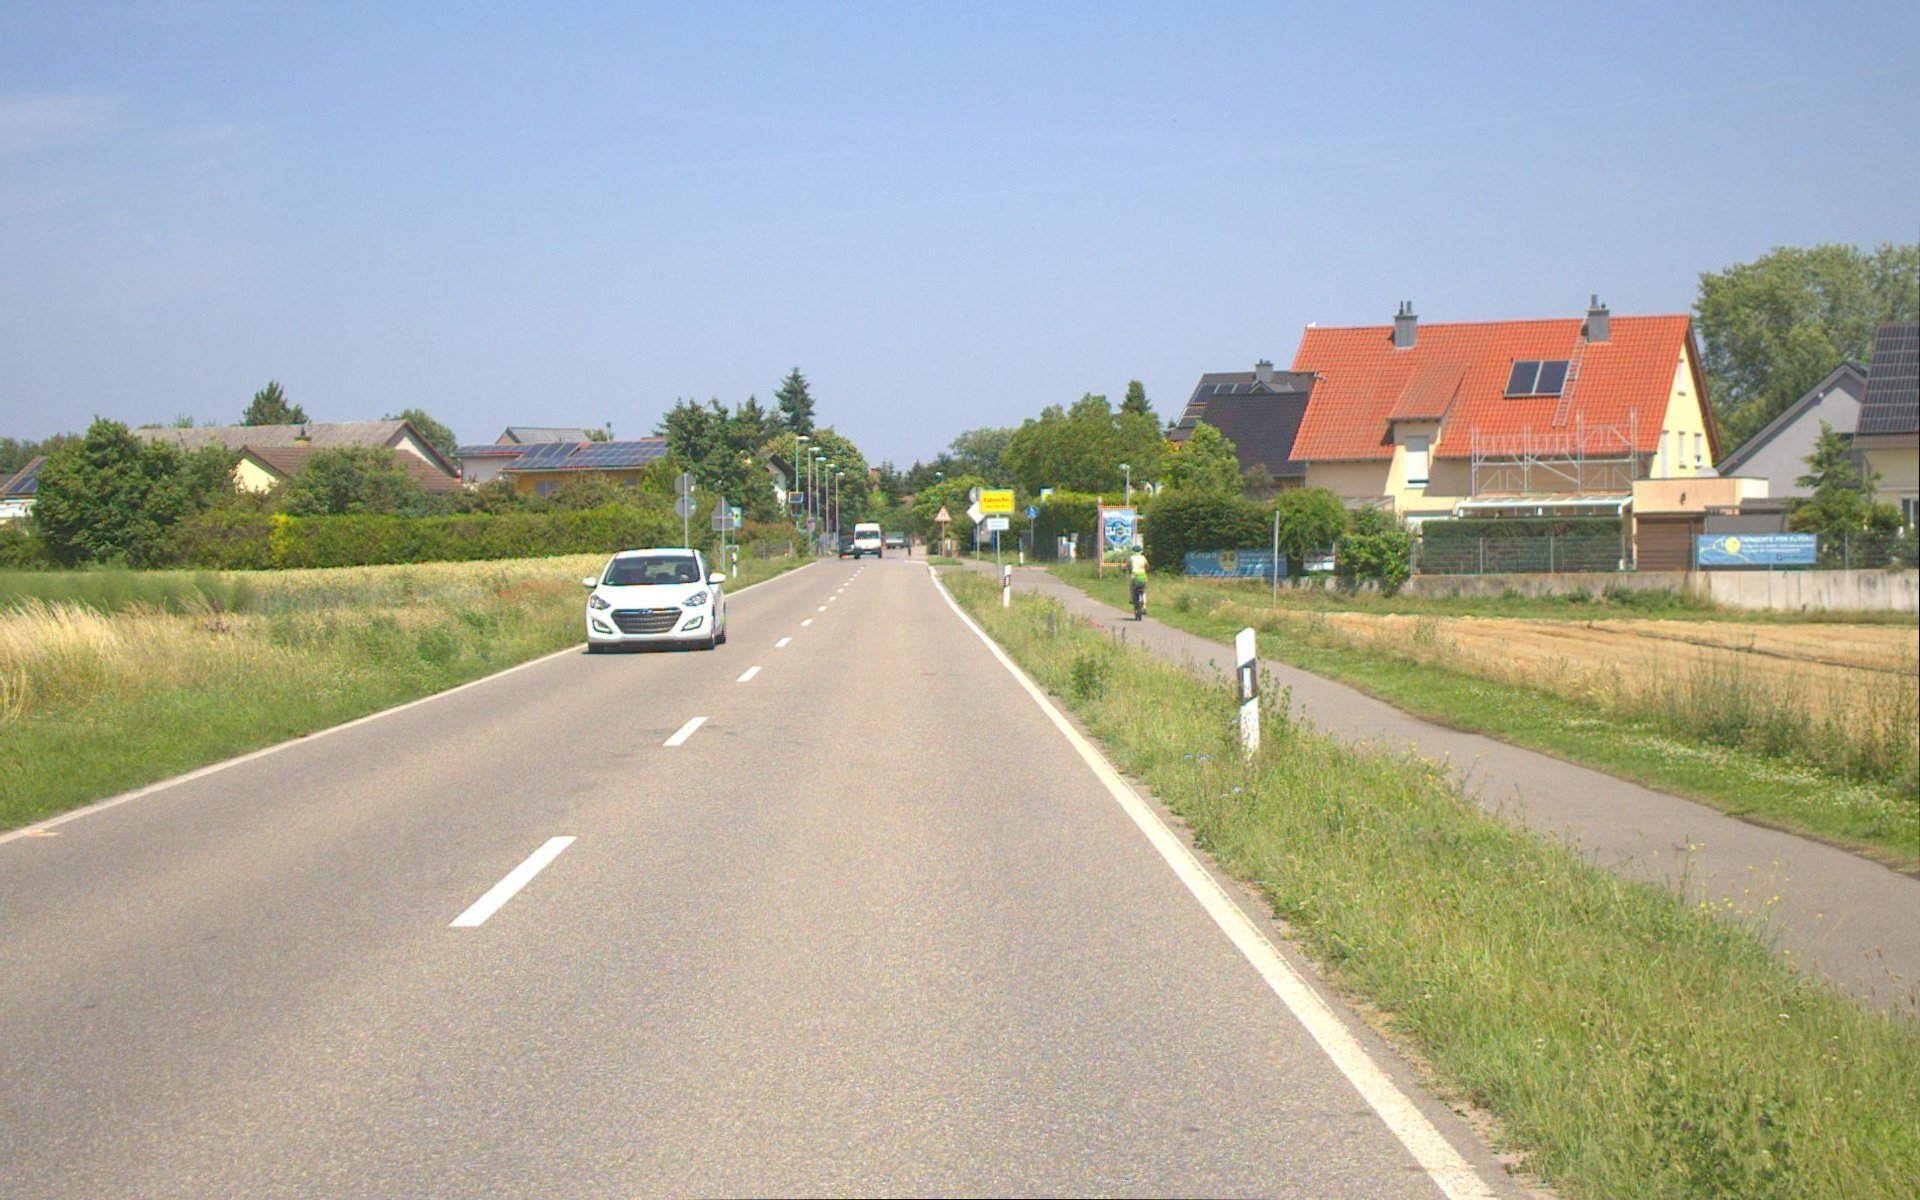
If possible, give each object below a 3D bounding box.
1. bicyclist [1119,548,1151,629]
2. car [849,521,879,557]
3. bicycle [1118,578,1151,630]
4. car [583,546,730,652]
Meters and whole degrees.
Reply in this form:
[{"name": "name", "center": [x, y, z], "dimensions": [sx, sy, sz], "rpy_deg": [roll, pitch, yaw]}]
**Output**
[{"name": "bicyclist", "center": [4.180, -0.284, 82.155], "dimensions": [0.645, 1.883, 0.861], "rpy_deg": [1, 2, -2]}, {"name": "car", "center": [-7.002, -4.497, 251.074], "dimensions": [2.077, 2.533, 5.874], "rpy_deg": [-2, 2, -1]}, {"name": "bicycle", "center": [4.172, 0.086, 82.296], "dimensions": [0.610, 1.155, 2.274], "rpy_deg": [1, 2, -2]}, {"name": "car", "center": [-4.326, -0.045, 49.481], "dimensions": [1.791, 1.404, 4.186], "rpy_deg": [-2, 1, -1]}]
